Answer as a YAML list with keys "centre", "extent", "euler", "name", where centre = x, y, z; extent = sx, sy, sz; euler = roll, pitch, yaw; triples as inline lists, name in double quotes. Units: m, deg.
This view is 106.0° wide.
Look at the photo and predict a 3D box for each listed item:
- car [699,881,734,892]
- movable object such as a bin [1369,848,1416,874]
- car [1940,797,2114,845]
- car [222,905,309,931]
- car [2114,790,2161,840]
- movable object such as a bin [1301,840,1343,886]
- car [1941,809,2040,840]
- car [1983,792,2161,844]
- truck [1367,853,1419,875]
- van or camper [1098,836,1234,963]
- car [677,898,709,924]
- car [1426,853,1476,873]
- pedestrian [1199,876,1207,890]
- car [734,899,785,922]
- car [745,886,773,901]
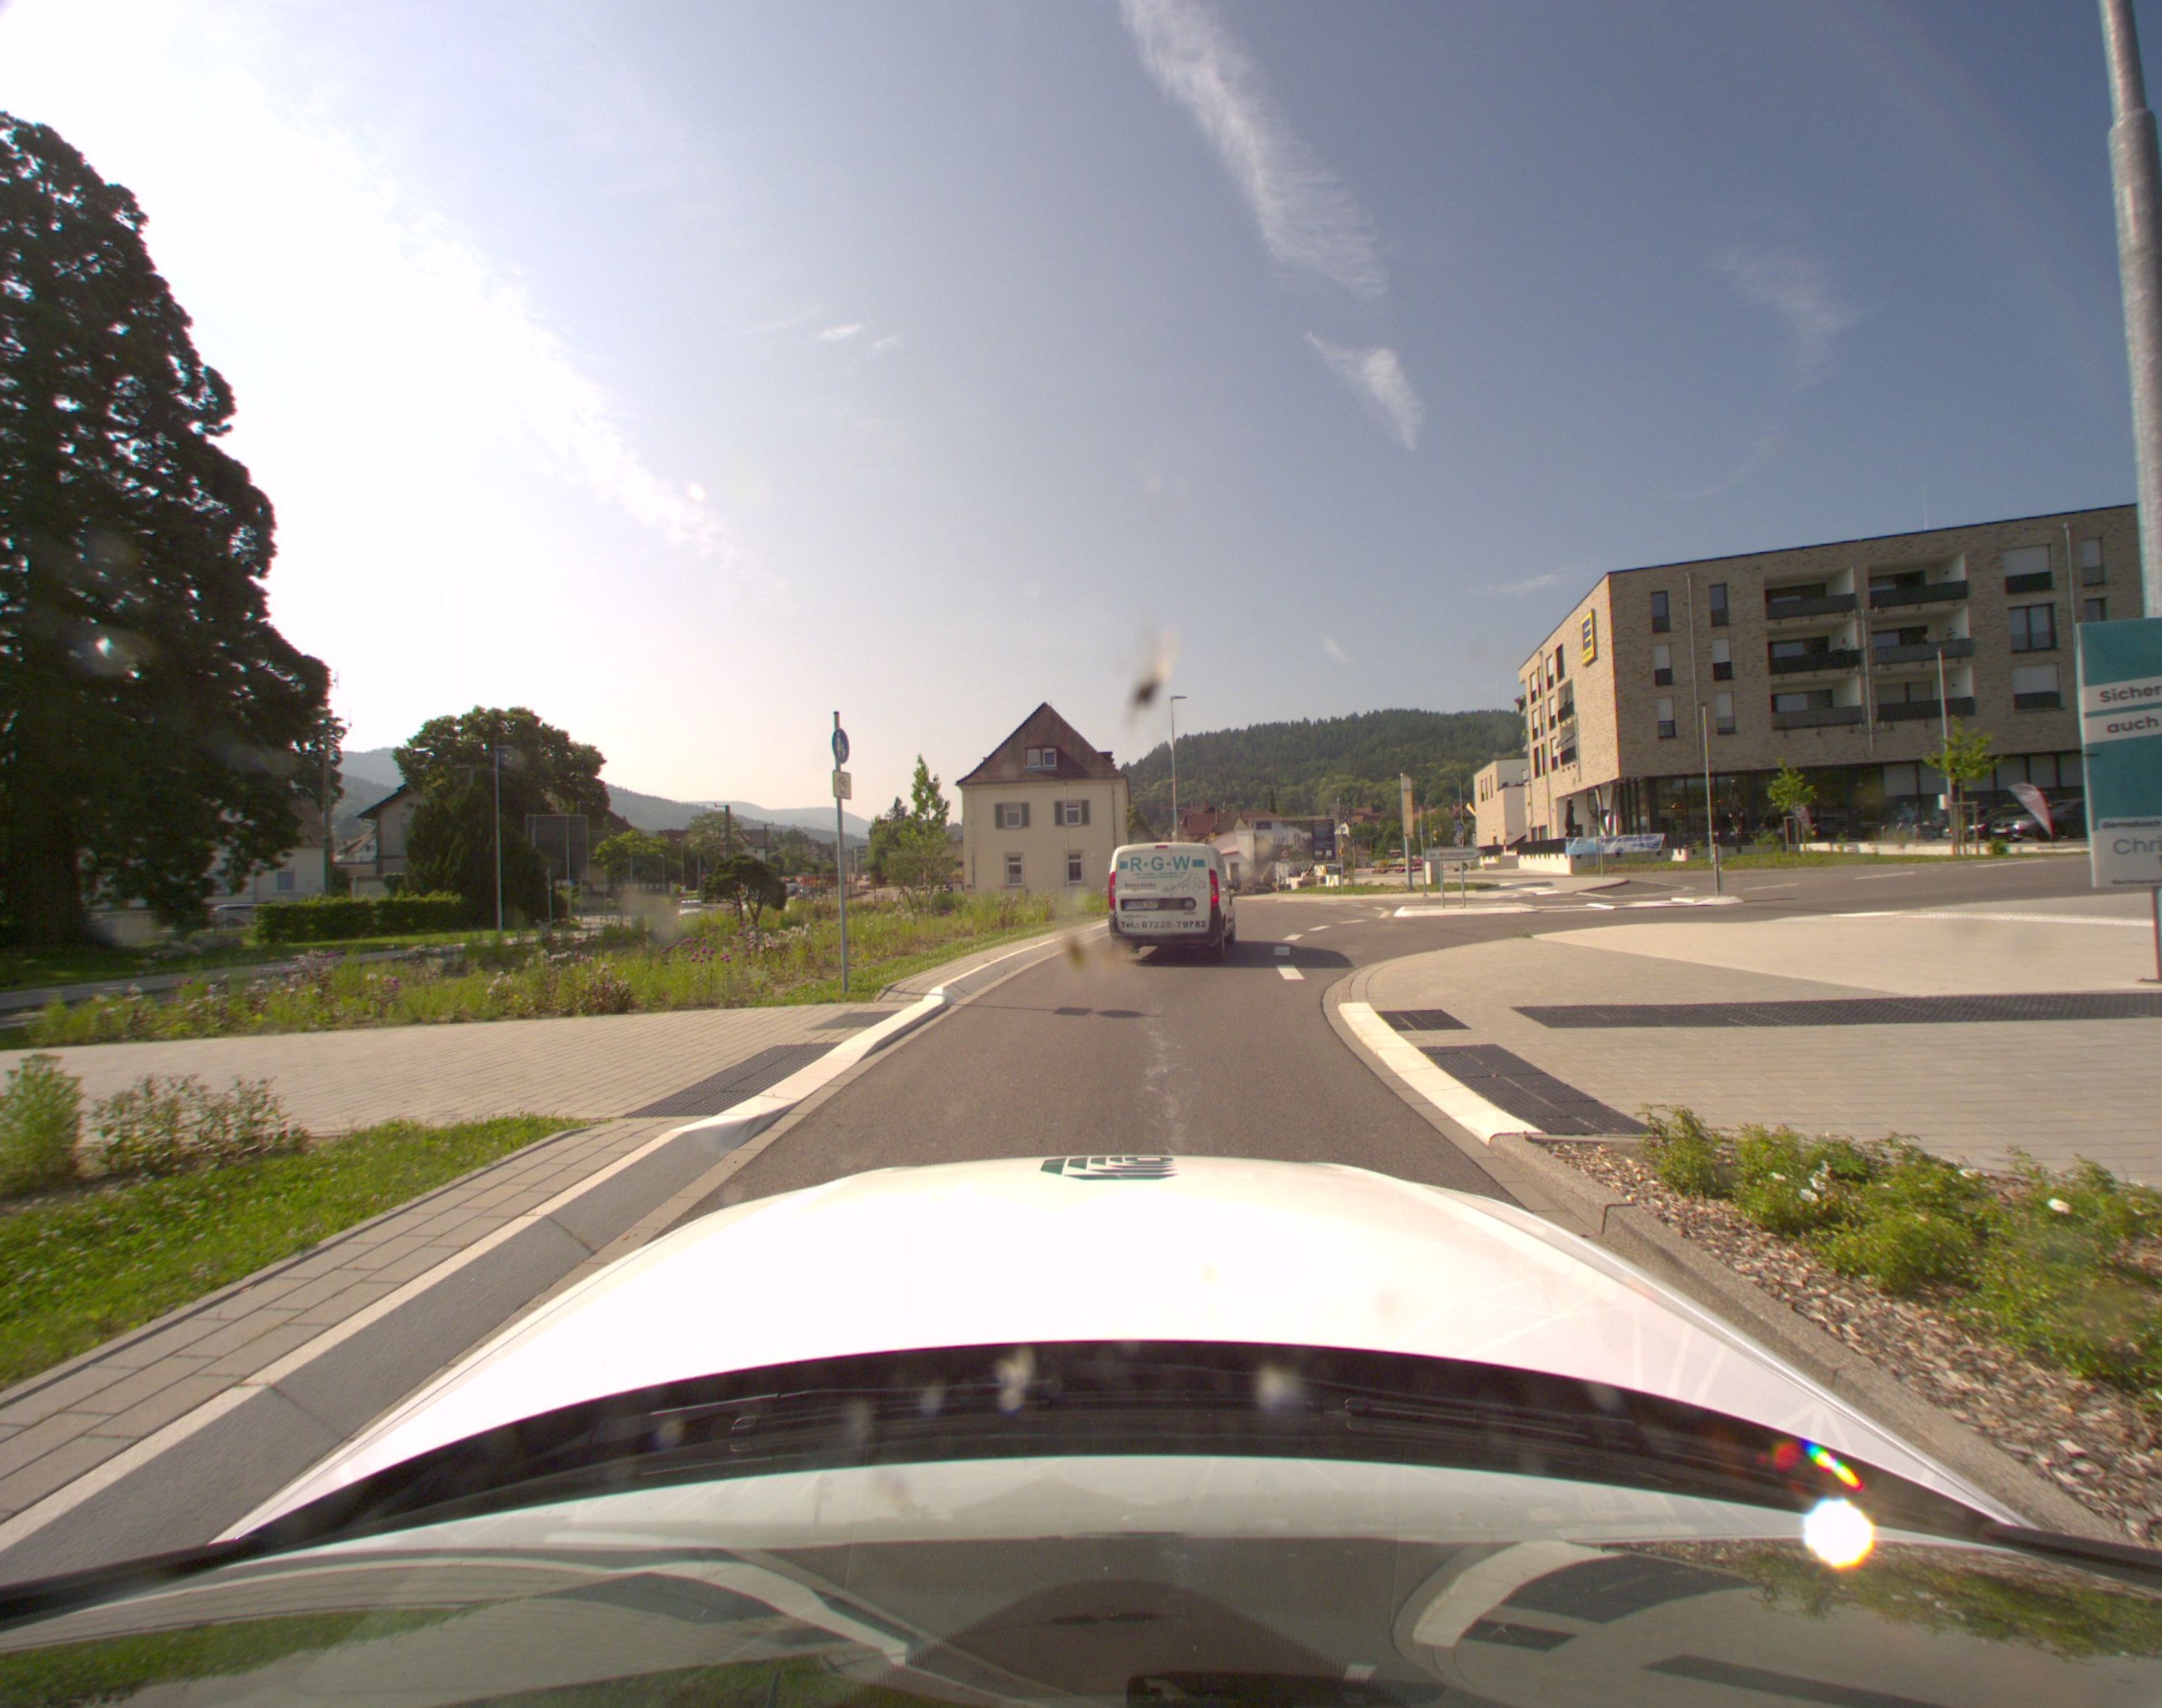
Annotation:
- centre: [-49.669, 4.384, 110.972]
  extent: [3.988, 1.398, 1.708]
  euler: [0, -1, -11]
  name: "car"
- centre: [35.260, 0.841, 92.139]
  extent: [4.568, 2.570, 1.937]
  euler: [-5, -3, 29]
  name: "movable object such as a bin"
- centre: [39.504, -1.355, 34.153]
  extent: [4.411, 1.555, 1.866]
  euler: [-5, 0, 16]
  name: "car"
- centre: [-53.016, 4.114, 52.995]
  extent: [1.586, 1.495, 3.673]
  euler: [-1, -2, 32]
  name: "car"
- centre: [36.605, -1.415, 25.639]
  extent: [4.766, 1.555, 1.867]
  euler: [-5, 0, 19]
  name: "car"
- centre: [21.155, 0.829, 71.829]
  extent: [2.282, 3.854, 7.813]
  euler: [0, -2, 7]
  name: "movable object such as a bin"
- centre: [43.448, -1.389, 38.994]
  extent: [1.476, 1.351, 3.344]
  euler: [0, 0, 12]
  name: "car"
- centre: [38.176, -1.363, 31.230]
  extent: [4.411, 1.555, 1.866]
  euler: [-5, 0, 16]
  name: "car"
- centre: [36.598, 1.175, 95.557]
  extent: [5.264, 2.266, 2.232]
  euler: [-5, -3, 29]
  name: "truck"
- centre: [1.629, 0.745, 14.151]
  extent: [1.815, 1.845, 4.202]
  euler: [-2, -2, 12]
  name: "van or camper"
- centre: [-24.945, 3.638, 52.477]
  extent: [1.677, 1.531, 3.968]
  euler: [-2, -2, -24]
  name: "car"
- centre: [30.802, 0.762, 67.799]
  extent: [3.391, 1.495, 1.595]
  euler: [-3, -3, 2]
  name: "car"
- centre: [14.025, 3.329, 93.693]
  extent: [0.884, 1.683, 0.719]
  euler: [0, -3, 3]
  name: "pedestrian"
- centre: [-23.559, 4.096, 59.608]
  extent: [3.948, 1.398, 1.725]
  euler: [0, -1, 38]
  name: "car"
- centre: [-34.816, 4.259, 88.215]
  extent: [1.706, 1.398, 3.993]
  euler: [0, 0, -5]
  name: "car"
